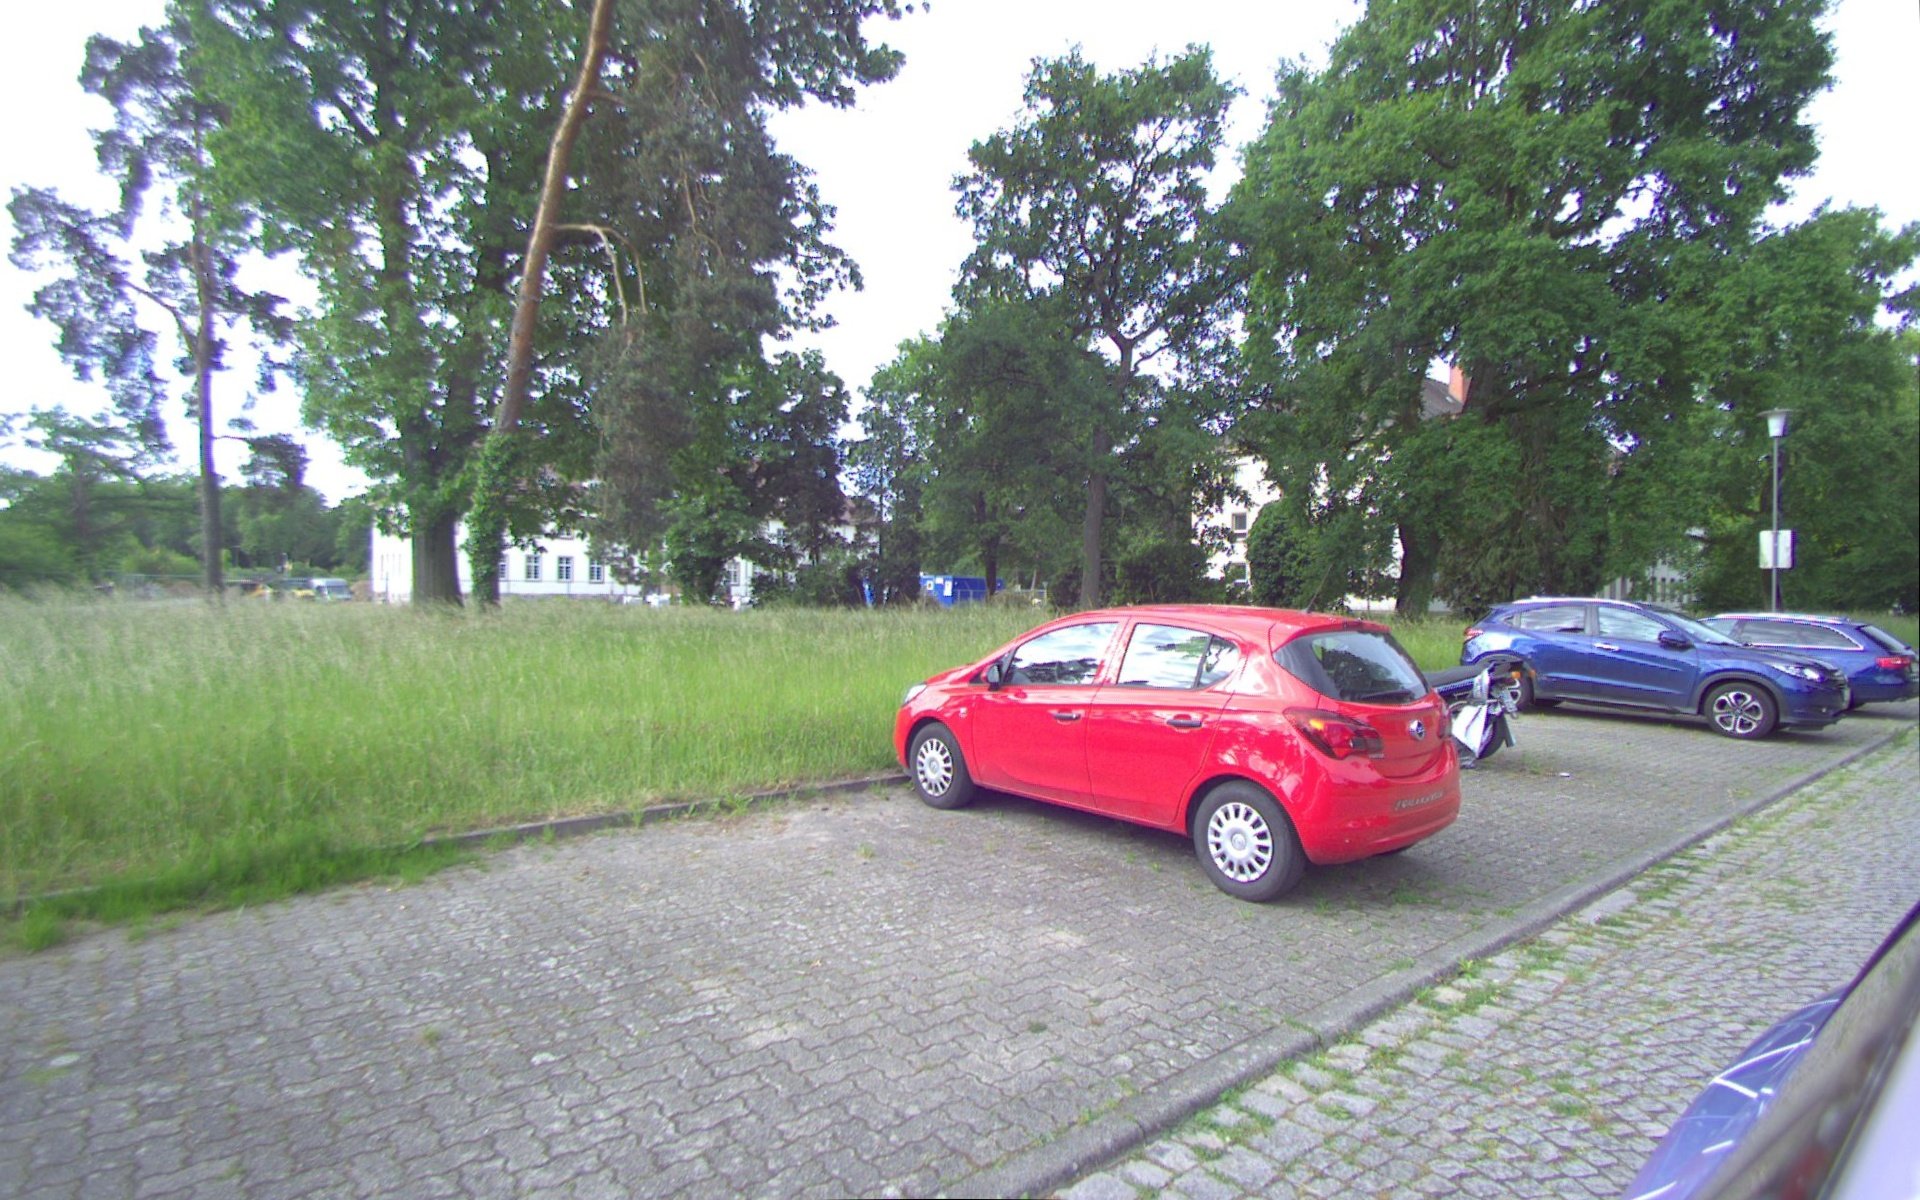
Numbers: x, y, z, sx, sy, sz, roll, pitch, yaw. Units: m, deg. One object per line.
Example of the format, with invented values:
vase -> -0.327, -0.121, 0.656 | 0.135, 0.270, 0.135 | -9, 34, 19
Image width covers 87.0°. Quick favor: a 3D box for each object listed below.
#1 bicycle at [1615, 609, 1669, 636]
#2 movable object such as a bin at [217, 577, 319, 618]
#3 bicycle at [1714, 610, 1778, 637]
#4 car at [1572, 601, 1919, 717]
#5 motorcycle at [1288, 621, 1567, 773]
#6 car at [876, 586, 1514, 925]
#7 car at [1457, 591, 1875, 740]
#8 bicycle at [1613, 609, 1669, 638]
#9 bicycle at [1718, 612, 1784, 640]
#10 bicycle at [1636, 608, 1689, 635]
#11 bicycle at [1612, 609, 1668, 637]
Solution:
bicycle -> 29.342, 0.955, 43.548 | 1.839, 1.137, 0.616 | 0, -1, 27
movable object such as a bin -> -46.706, -0.175, 68.323 | 5.880, 2.689, 2.169 | 0, 0, 10
bicycle -> 32.390, 0.972, 41.731 | 2.010, 1.090, 0.616 | 0, -1, 27
car -> 12.550, 0.815, 16.091 | 1.751, 1.439, 4.483 | 1, 1, -37
motorcycle -> 4.455, 0.853, 9.818 | 0.782, 1.200, 2.330 | 0, 1, -42
car -> 1.274, 0.699, 6.715 | 1.748, 1.478, 3.833 | 0, 2, -40
car -> 8.977, 0.689, 13.171 | 1.761, 1.591, 4.170 | -1, 1, -40
bicycle -> 28.022, 0.953, 41.652 | 1.839, 1.137, 0.616 | 0, -1, 27
bicycle -> 31.202, 1.020, 39.928 | 1.951, 1.090, 0.583 | 0, -1, 23
bicycle -> 31.116, 0.942, 44.827 | 1.839, 1.137, 0.616 | 0, -1, 27
bicycle -> 28.345, 0.954, 42.201 | 1.839, 1.137, 0.616 | 0, -1, 27
